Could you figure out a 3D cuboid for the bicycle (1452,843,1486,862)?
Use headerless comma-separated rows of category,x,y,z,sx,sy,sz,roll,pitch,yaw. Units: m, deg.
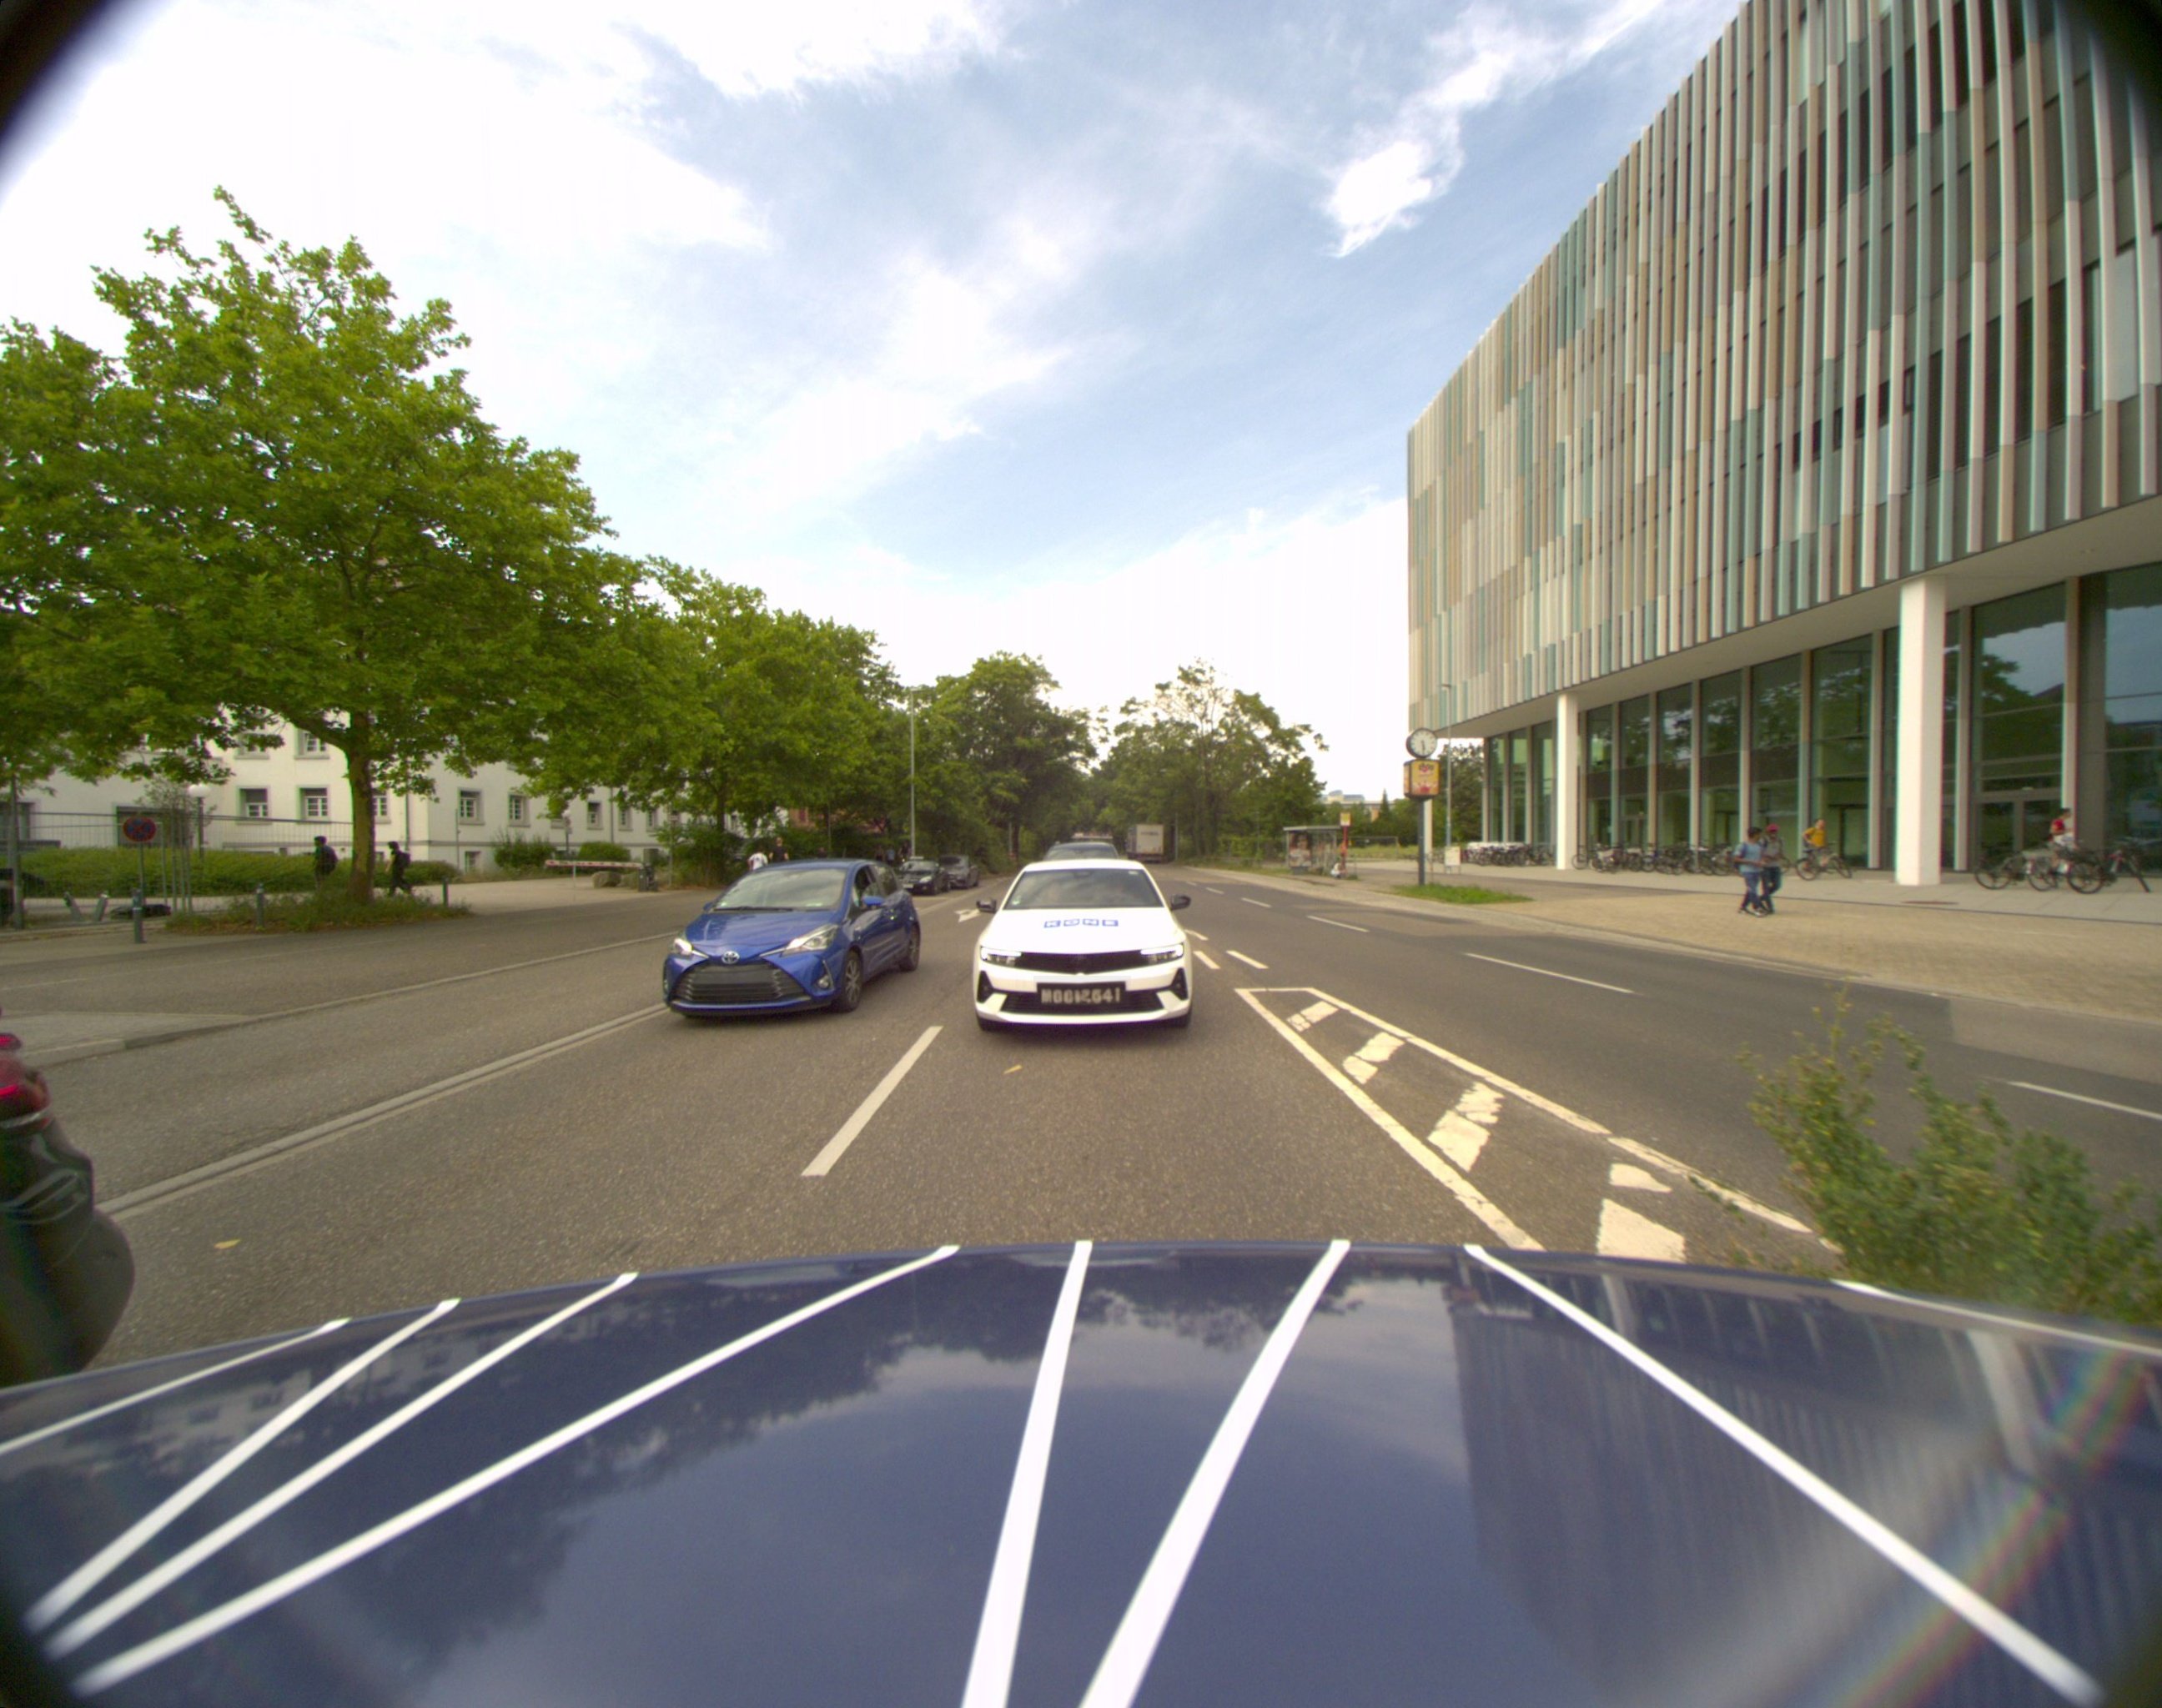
bicycle,22.456,-0.116,43.991,1.703,1.017,0.434,-3,2,-4

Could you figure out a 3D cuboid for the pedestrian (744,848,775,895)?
pedestrian,-10.692,0.573,25.301,0.646,1.556,0.804,-1,1,0

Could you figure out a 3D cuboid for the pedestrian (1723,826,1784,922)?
pedestrian,13.196,0.378,14.936,0.512,1.827,0.772,-1,0,1

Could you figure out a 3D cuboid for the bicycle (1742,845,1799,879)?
bicycle,22.442,0.259,24.732,1.581,1.017,0.389,-3,2,-4

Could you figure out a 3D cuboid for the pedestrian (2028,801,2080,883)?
pedestrian,24.557,-0.287,19.187,0.512,2.032,0.625,-1,1,6

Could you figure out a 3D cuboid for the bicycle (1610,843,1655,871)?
bicycle,22.143,0.117,30.513,1.581,1.017,0.389,-3,2,-4

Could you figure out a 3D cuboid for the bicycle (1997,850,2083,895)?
bicycle,21.698,0.419,17.189,1.546,0.932,0.394,-3,2,-4

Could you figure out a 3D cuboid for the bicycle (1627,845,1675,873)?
bicycle,22.111,0.200,29.479,1.581,1.017,0.389,-3,2,-4

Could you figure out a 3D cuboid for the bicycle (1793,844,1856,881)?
bicycle,22.209,0.240,22.695,1.581,1.017,0.389,-3,2,-4

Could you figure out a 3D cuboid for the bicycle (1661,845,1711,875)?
bicycle,22.139,0.218,27.803,1.581,1.017,0.389,-3,2,-4

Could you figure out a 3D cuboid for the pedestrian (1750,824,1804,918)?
pedestrian,13.798,0.328,15.073,0.512,1.827,0.624,-1,1,1

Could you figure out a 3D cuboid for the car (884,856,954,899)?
car,-5.907,0.816,28.117,1.703,1.361,3.831,-1,1,1

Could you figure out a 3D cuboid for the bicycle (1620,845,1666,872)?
bicycle,22.211,0.173,30.025,1.581,1.017,0.389,-3,2,-4

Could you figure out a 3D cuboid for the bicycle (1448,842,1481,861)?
bicycle,22.641,-0.141,44.865,1.703,1.017,0.434,-3,2,-4

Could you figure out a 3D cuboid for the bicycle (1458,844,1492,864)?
bicycle,22.208,0.000,42.803,1.703,1.017,0.434,-3,2,-4

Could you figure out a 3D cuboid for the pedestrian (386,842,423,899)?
pedestrian,-20.705,0.495,23.263,0.530,1.743,0.594,-1,1,5

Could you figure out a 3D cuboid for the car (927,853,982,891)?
car,-5.379,0.743,32.704,1.606,1.454,4.017,-1,1,1

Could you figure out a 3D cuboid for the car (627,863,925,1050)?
car,-3.009,0.907,8.436,1.703,1.485,3.831,-1,1,1

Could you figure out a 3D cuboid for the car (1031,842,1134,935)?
car,0.053,0.624,16.817,1.904,1.639,4.643,-2,2,1

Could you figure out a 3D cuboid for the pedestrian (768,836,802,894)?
pedestrian,-9.941,0.367,25.517,0.798,1.922,0.760,-1,1,0

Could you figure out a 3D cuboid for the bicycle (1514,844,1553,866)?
bicycle,22.543,0.035,37.868,1.703,1.017,0.389,-3,2,-4

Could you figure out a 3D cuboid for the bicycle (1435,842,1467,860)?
bicycle,22.575,-0.171,46.348,1.703,1.017,0.434,-3,2,-4

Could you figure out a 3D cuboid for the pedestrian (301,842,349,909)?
pedestrian,-19.697,0.553,19.807,0.586,1.729,0.594,-1,1,2

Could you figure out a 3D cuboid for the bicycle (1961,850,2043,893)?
bicycle,21.740,0.399,17.941,1.546,0.932,0.389,-3,2,-4

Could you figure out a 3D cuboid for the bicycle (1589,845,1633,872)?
bicycle,22.118,0.180,31.729,1.581,1.017,0.389,-3,2,-4

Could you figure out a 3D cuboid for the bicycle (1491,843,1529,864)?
bicycle,22.299,-0.032,39.512,1.703,1.017,0.434,-3,2,-4

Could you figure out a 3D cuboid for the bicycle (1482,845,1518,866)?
bicycle,22.272,0.062,40.364,1.703,1.017,0.434,-3,2,-4

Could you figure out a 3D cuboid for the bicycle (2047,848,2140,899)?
bicycle,21.674,0.411,16.274,1.545,0.989,0.399,-3,2,-3

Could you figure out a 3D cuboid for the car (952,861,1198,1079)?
car,-0.015,0.862,7.853,1.744,1.430,4.781,-1,1,1
